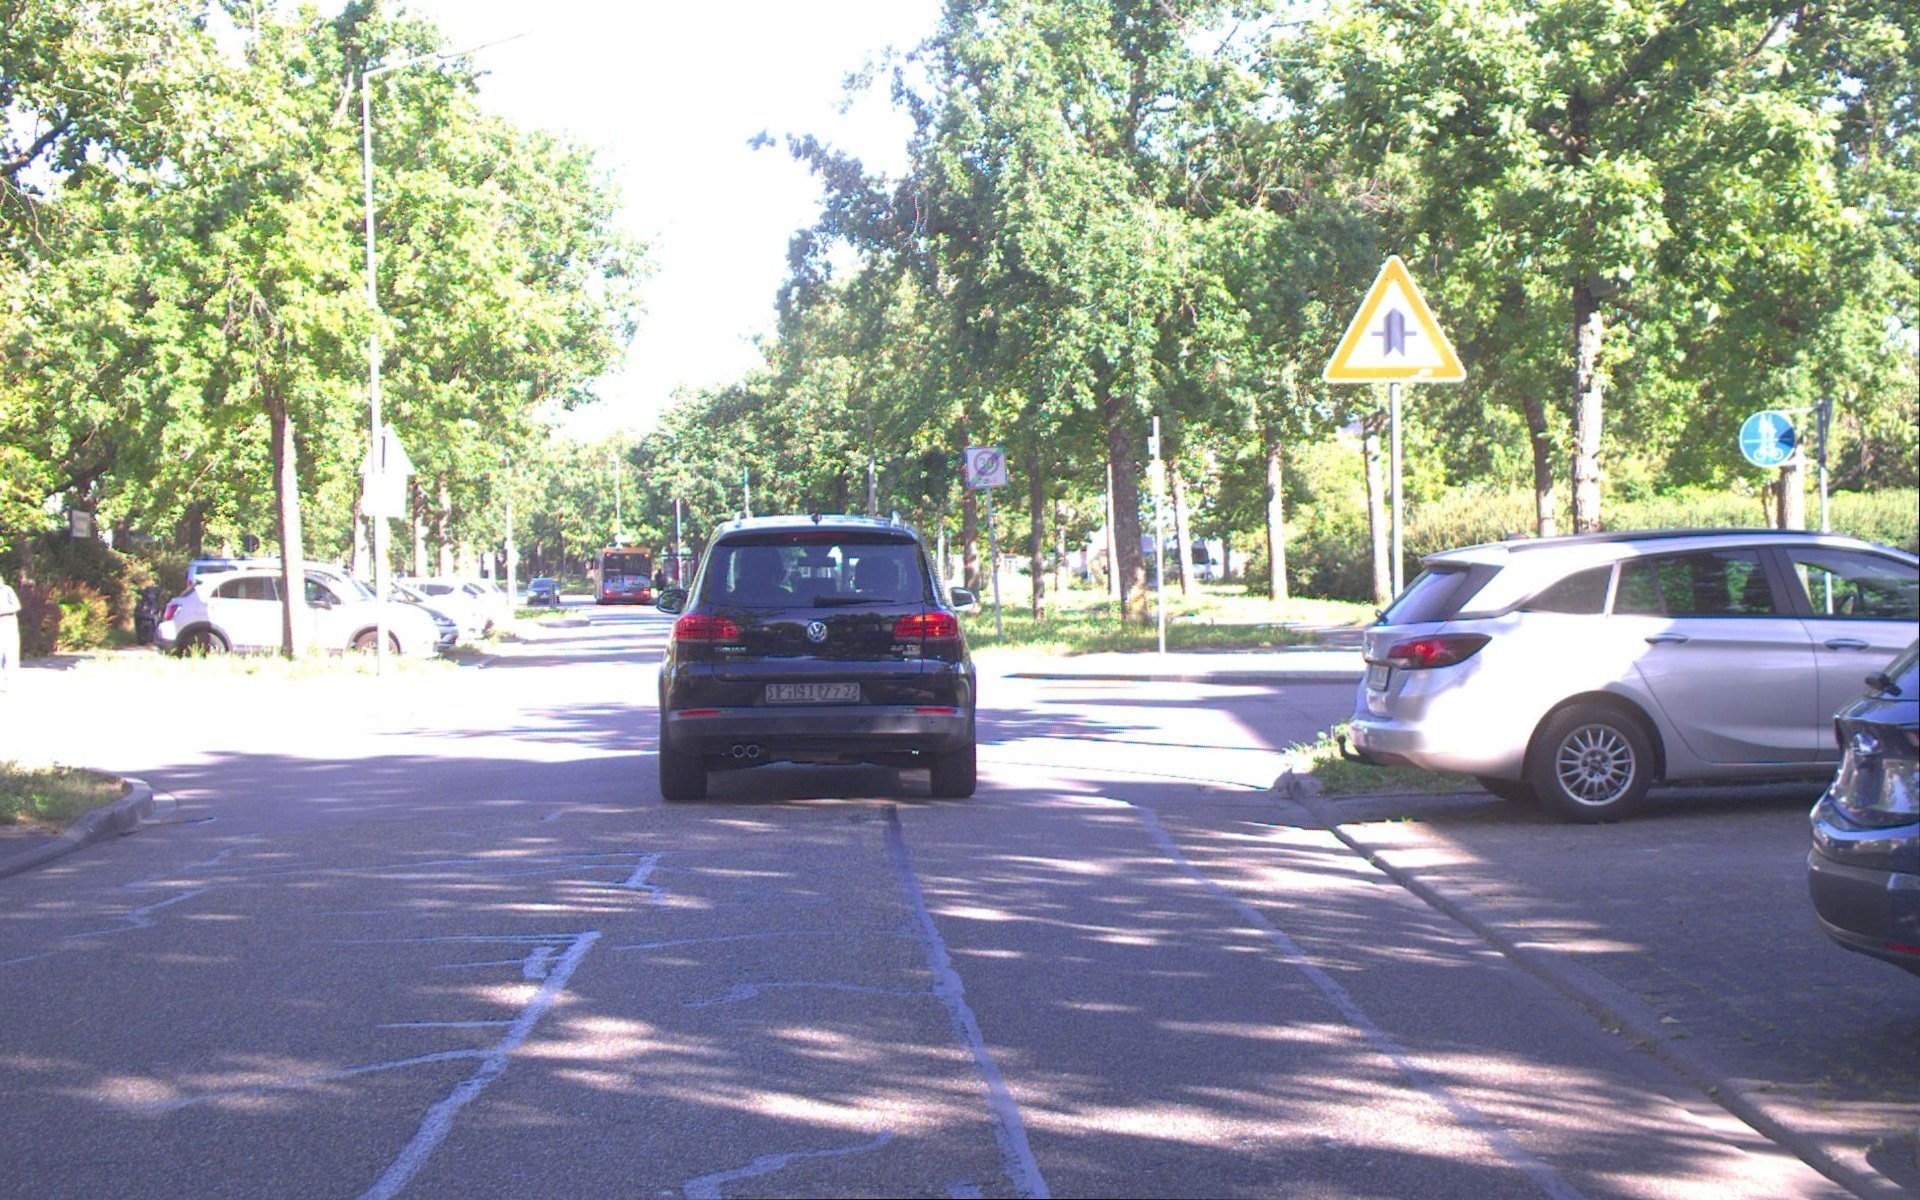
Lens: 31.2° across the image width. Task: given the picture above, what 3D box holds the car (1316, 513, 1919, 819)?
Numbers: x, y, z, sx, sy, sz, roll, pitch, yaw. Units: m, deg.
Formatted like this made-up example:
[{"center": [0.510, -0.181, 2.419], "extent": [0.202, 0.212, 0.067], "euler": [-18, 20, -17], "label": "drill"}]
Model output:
[{"center": [4.226, 0.301, 18.434], "extent": [4.428, 1.486, 1.797], "euler": [-1, 1, 1], "label": "car"}]

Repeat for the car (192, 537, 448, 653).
[{"center": [-10.782, -0.101, 58.100], "extent": [4.015, 1.833, 1.897], "euler": [-2, 1, -4], "label": "car"}]

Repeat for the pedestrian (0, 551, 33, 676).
[{"center": [-12.016, 0.168, 43.287], "extent": [0.441, 1.551, 0.801], "euler": [-1, 1, -1], "label": "pedestrian"}]

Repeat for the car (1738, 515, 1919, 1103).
[{"center": [4.537, 0.467, 9.654], "extent": [4.276, 1.498, 1.797], "euler": [-1, 1, 1], "label": "car"}]

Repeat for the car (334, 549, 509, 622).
[{"center": [-13.051, -0.374, 83.479], "extent": [4.015, 1.642, 1.811], "euler": [-2, 1, -4], "label": "car"}]

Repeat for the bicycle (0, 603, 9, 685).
[{"center": [-12.453, 0.570, 43.283], "extent": [0.447, 1.036, 1.893], "euler": [-2, 0, -1], "label": "bicycle"}]

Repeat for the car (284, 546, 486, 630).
[{"center": [-12.162, -0.262, 72.890], "extent": [4.015, 1.642, 1.811], "euler": [-2, 1, -4], "label": "car"}]

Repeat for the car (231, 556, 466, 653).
[{"center": [-11.164, 0.063, 62.984], "extent": [4.015, 1.642, 1.897], "euler": [-2, 1, -4], "label": "car"}]

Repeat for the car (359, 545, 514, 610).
[{"center": [-14.252, -0.630, 93.733], "extent": [4.015, 1.642, 1.811], "euler": [-2, 1, -4], "label": "car"}]

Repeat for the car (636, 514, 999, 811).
[{"center": [-0.770, 0.316, 21.063], "extent": [1.838, 1.631, 3.958], "euler": [-1, 1, 3], "label": "car"}]

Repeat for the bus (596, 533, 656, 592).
[{"center": [-17.654, -1.999, 181.951], "extent": [2.928, 2.993, 5.738], "euler": [-2, 1, -4], "label": "bus"}]

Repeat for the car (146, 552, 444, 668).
[{"center": [-10.131, 0.134, 52.629], "extent": [4.241, 1.617, 1.897], "euler": [-2, 1, -4], "label": "car"}]

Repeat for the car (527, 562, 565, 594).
[{"center": [-23.305, -1.254, 193.687], "extent": [1.852, 1.687, 3.956], "euler": [-2, 1, -4], "label": "car"}]
